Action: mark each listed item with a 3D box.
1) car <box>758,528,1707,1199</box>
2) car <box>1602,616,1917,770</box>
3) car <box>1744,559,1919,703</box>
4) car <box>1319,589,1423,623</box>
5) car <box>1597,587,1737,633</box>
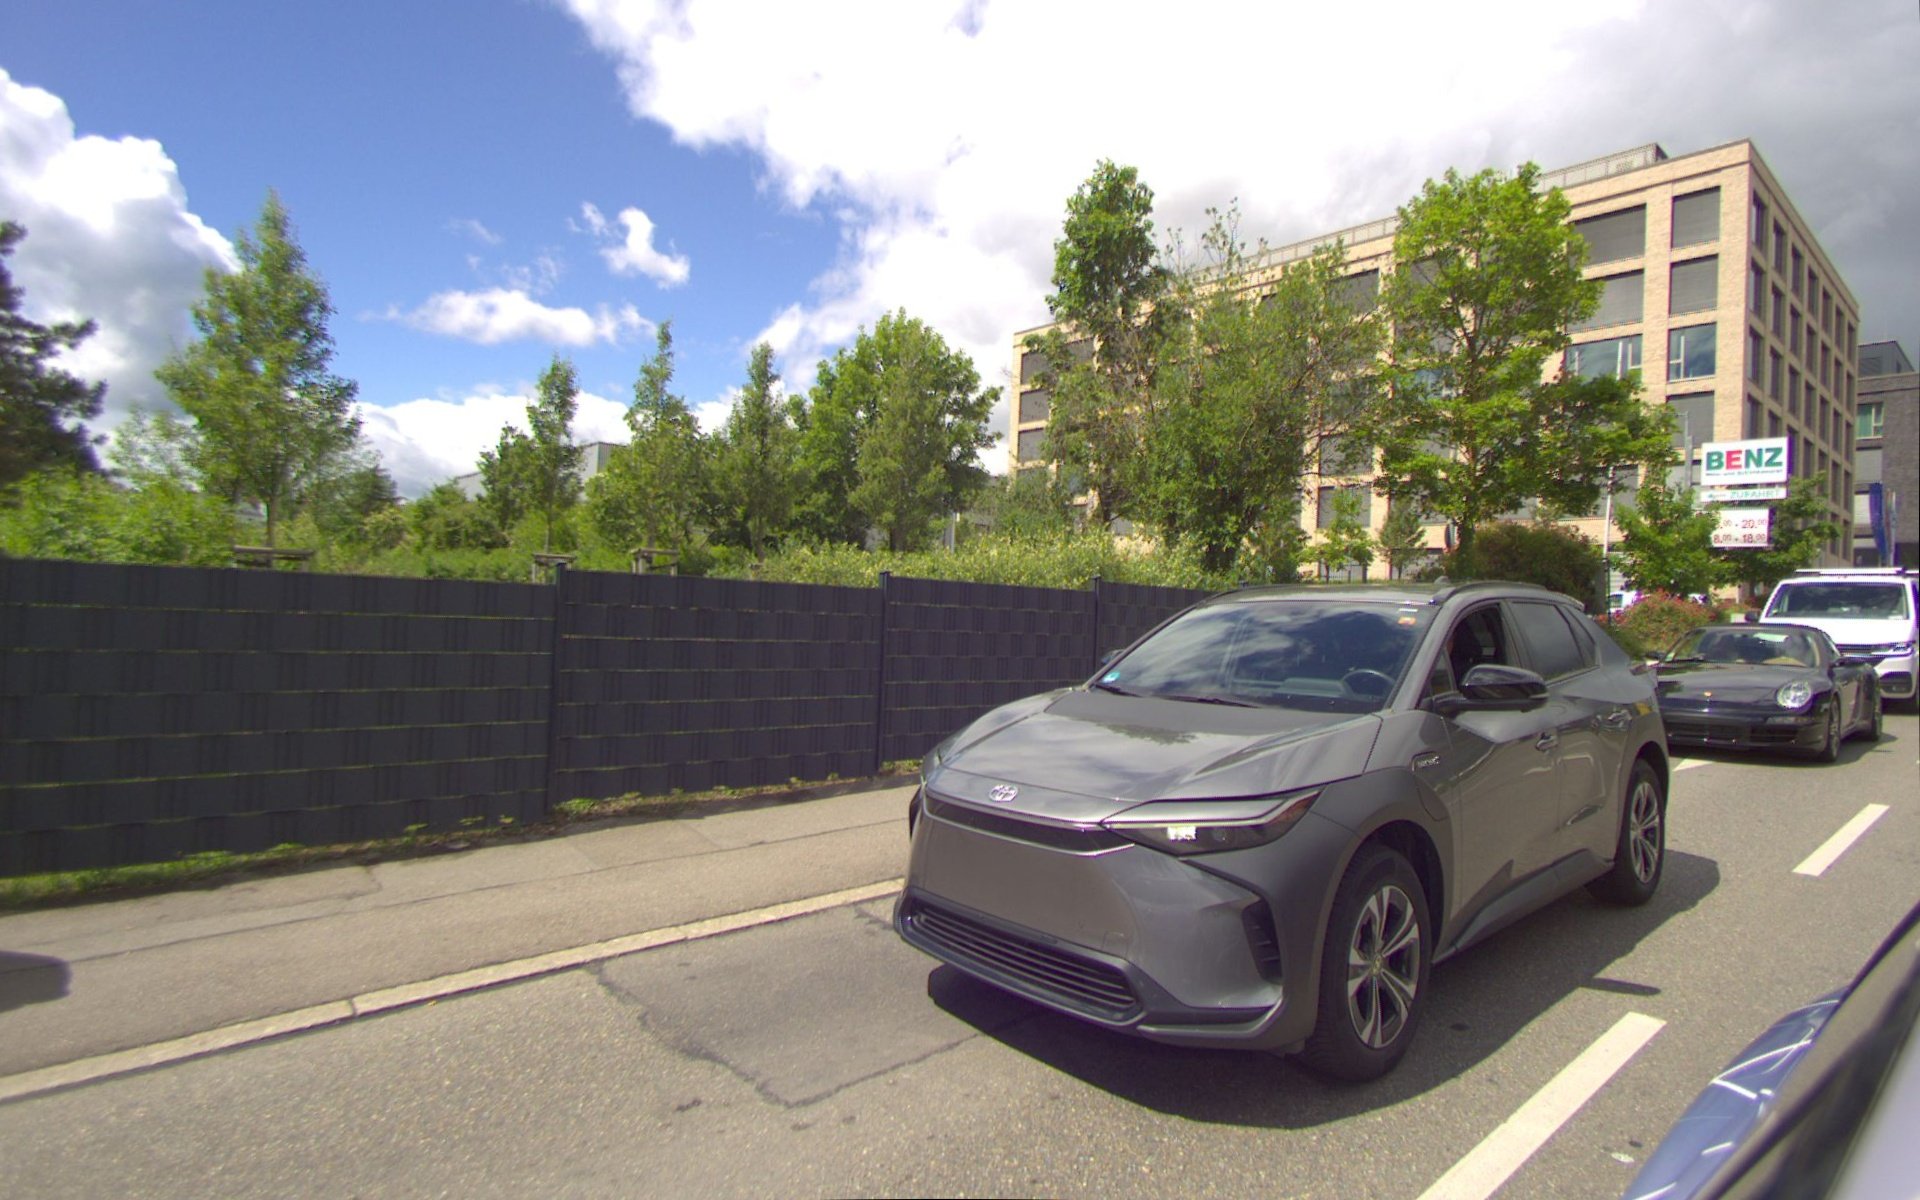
[{"bbox_3d":[1.596,0.667,4.585,4.601,1.634,1.922,0,-1,-41],"label":"car"},{"bbox_3d":[8.699,0.837,10.864,4.487,1.290,1.776,0,-1,-40],"label":"car"},{"bbox_3d":[13.653,0.426,15.328,4.563,1.874,1.962,0,-1,-41],"label":"car"},{"bbox_3d":[19.381,0.252,47.837,1.705,1.436,4.215,1,1,-41],"label":"car"},{"bbox_3d":[27.355,0.360,39.239,1.707,1.596,4.211,1,1,-44],"label":"car"}]
